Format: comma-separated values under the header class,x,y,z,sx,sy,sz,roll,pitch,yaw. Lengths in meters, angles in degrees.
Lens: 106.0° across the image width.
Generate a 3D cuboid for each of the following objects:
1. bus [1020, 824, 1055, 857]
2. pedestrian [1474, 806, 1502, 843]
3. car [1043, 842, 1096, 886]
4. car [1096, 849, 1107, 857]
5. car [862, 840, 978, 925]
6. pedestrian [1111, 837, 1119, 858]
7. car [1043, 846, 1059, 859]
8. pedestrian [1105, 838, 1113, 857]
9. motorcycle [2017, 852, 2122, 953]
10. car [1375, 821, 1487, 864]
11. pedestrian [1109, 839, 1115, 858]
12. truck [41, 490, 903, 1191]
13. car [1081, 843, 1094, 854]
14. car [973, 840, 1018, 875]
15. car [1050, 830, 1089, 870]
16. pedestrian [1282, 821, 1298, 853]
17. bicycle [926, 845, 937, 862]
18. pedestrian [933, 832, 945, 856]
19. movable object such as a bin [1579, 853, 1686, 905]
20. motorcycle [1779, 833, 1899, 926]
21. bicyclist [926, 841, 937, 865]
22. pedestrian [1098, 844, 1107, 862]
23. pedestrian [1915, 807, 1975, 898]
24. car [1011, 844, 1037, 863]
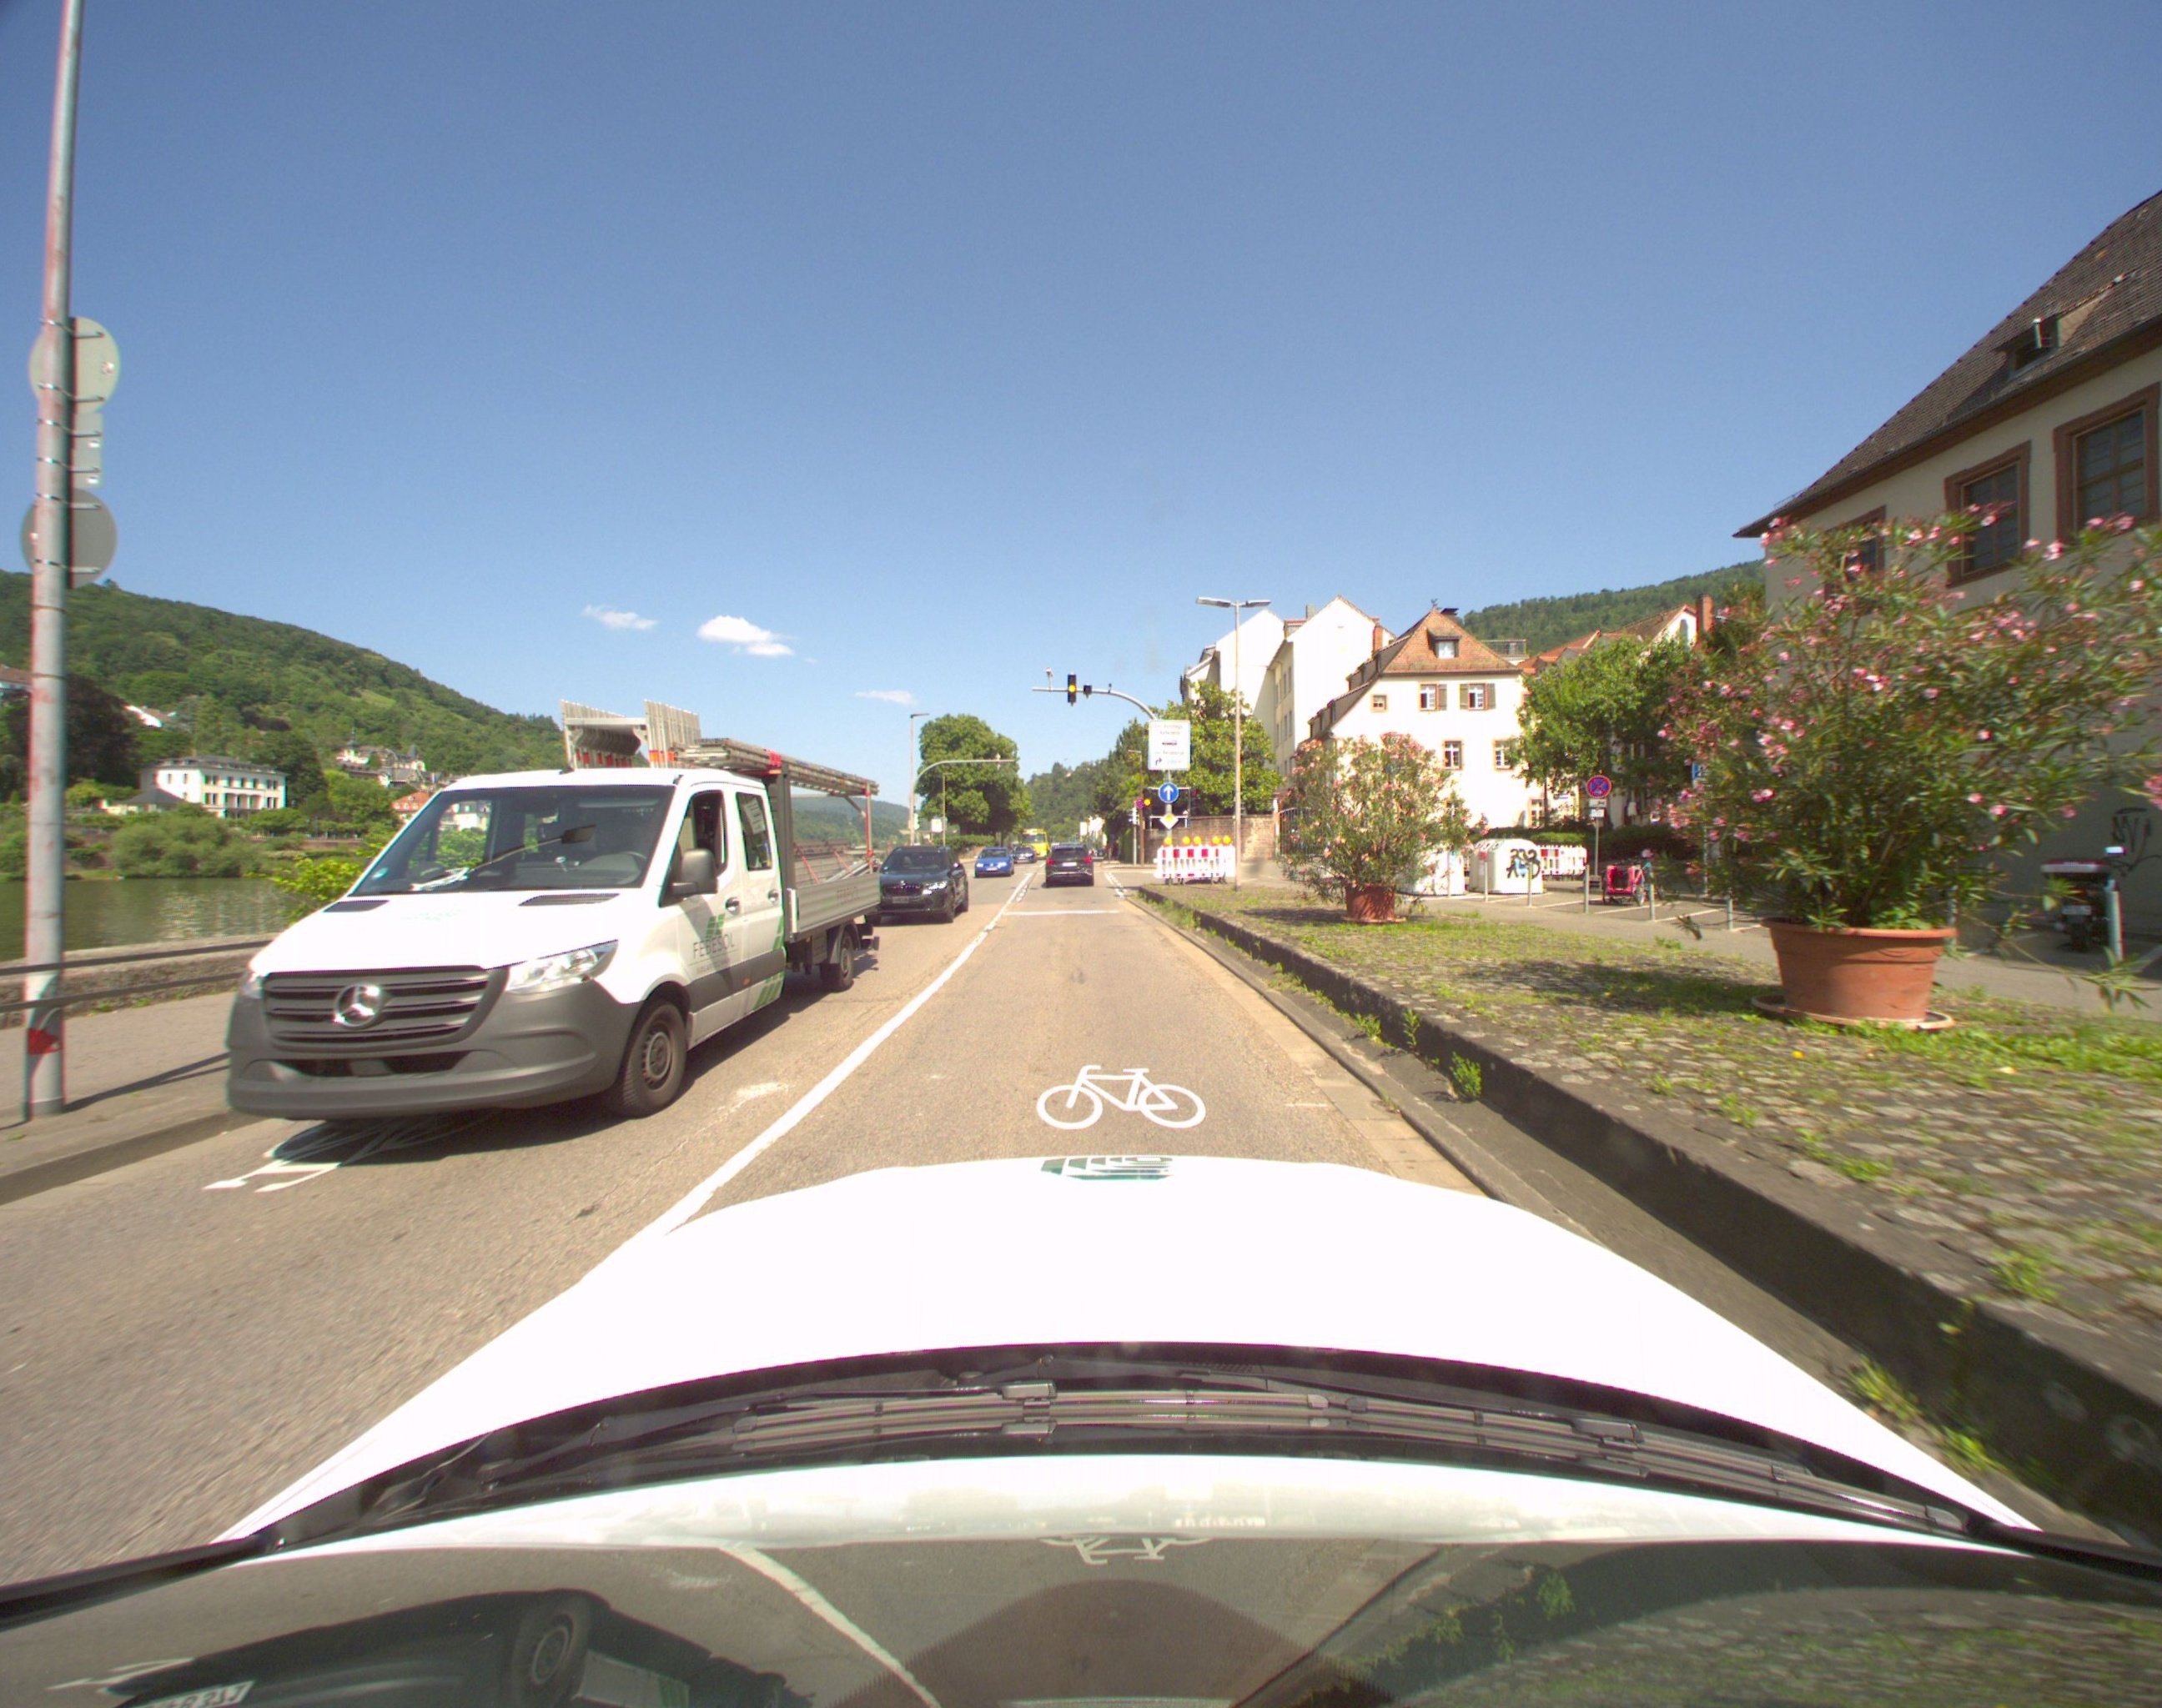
class,x,y,z,sx,sy,sz,roll,pitch,yaw
bus,-4.045,-1.279,77.541,2.588,2.896,8.449,-1,1,1
pedestrian,20.713,-1.484,41.450,0.920,1.793,0.864,-3,1,1
car,-0.404,0.314,30.960,1.851,1.523,4.000,-1,1,0
car,3.842,-0.123,153.865,1.986,1.453,4.009,-1,-1,1
car,-3.576,0.558,18.889,1.858,1.681,4.451,-2,0,-1
pedestrian,2.807,-0.530,67.364,0.678,1.742,0.913,0,0,0
car,-3.718,-0.196,100.758,1.809,1.398,4.347,-2,1,0
pedestrian,2.438,-0.581,70.936,0.733,1.634,0.920,-1,1,1
motorcycle,13.642,0.618,11.223,2.244,1.252,0.622,-1,2,-32
car,14.946,-0.526,34.899,3.977,1.485,1.860,-4,4,-2
pedestrian,2.637,-0.468,68.831,0.454,1.606,0.579,0,0,1
truck,-3.751,-0.108,7.742,2.369,3.261,7.608,-3,0,-1
car,0.969,-0.722,114.460,1.789,1.482,4.000,0,0,0
car,-4.154,0.129,40.154,1.804,1.508,3.997,-3,1,-2
car,-0.641,-0.176,43.831,1.988,2.014,3.997,-1,-1,-1
pedestrian,11.339,-0.917,44.202,0.717,1.705,0.712,-2,0,22
bicycle,-10.528,-0.041,57.342,0.666,1.113,2.027,-2,0,-9
pedestrian,-11.616,-0.771,66.630,0.750,1.918,1.009,-1,-2,1
movable object such as a bin,13.179,0.562,19.423,2.970,1.110,1.244,-1,0,-37
motorcycle,13.539,0.419,14.520,2.508,1.533,1.042,0,-1,-35
bicyclist,-10.538,-0.085,57.331,0.667,1.631,0.976,-2,0,-10
pedestrian,1.964,-0.124,75.713,0.725,1.650,0.883,-3,0,3
pedestrian,17.713,-0.027,16.706,0.493,1.823,0.619,-1,-2,0
car,-4.415,-0.059,63.380,1.804,1.406,4.354,-1,1,-2
